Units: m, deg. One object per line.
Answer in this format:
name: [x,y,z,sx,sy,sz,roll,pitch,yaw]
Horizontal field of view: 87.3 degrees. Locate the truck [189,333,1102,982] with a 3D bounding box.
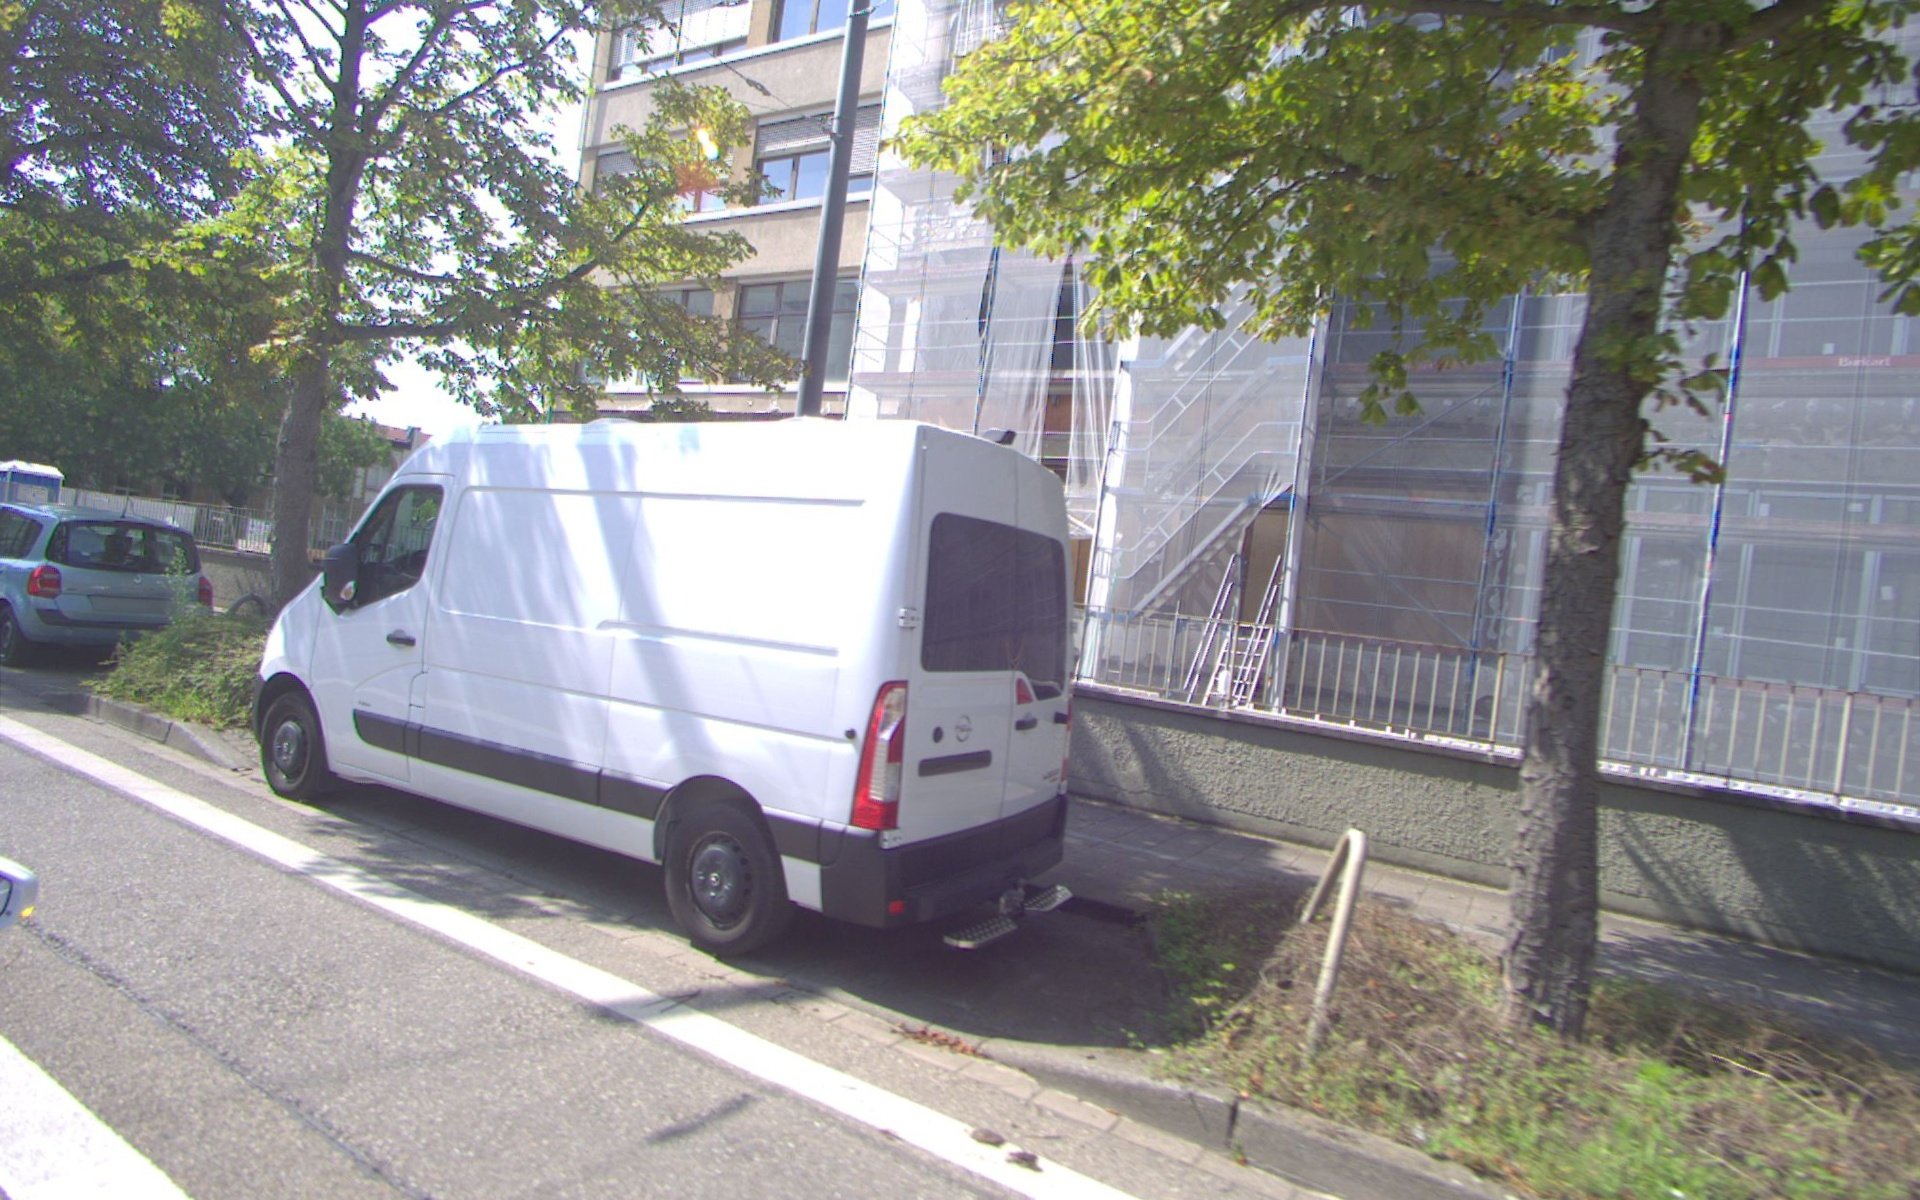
truck: [-2.185,0.033,6.245,5.497,2.629,1.921,7,-1,30]

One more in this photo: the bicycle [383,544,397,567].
bicycle: [-35.372,-2.762,62.431,0.602,1.318,2.158,8,-1,-28]

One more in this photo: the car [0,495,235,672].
car: [-9.979,-0.282,11.067,4.101,1.600,1.676,7,1,31]
